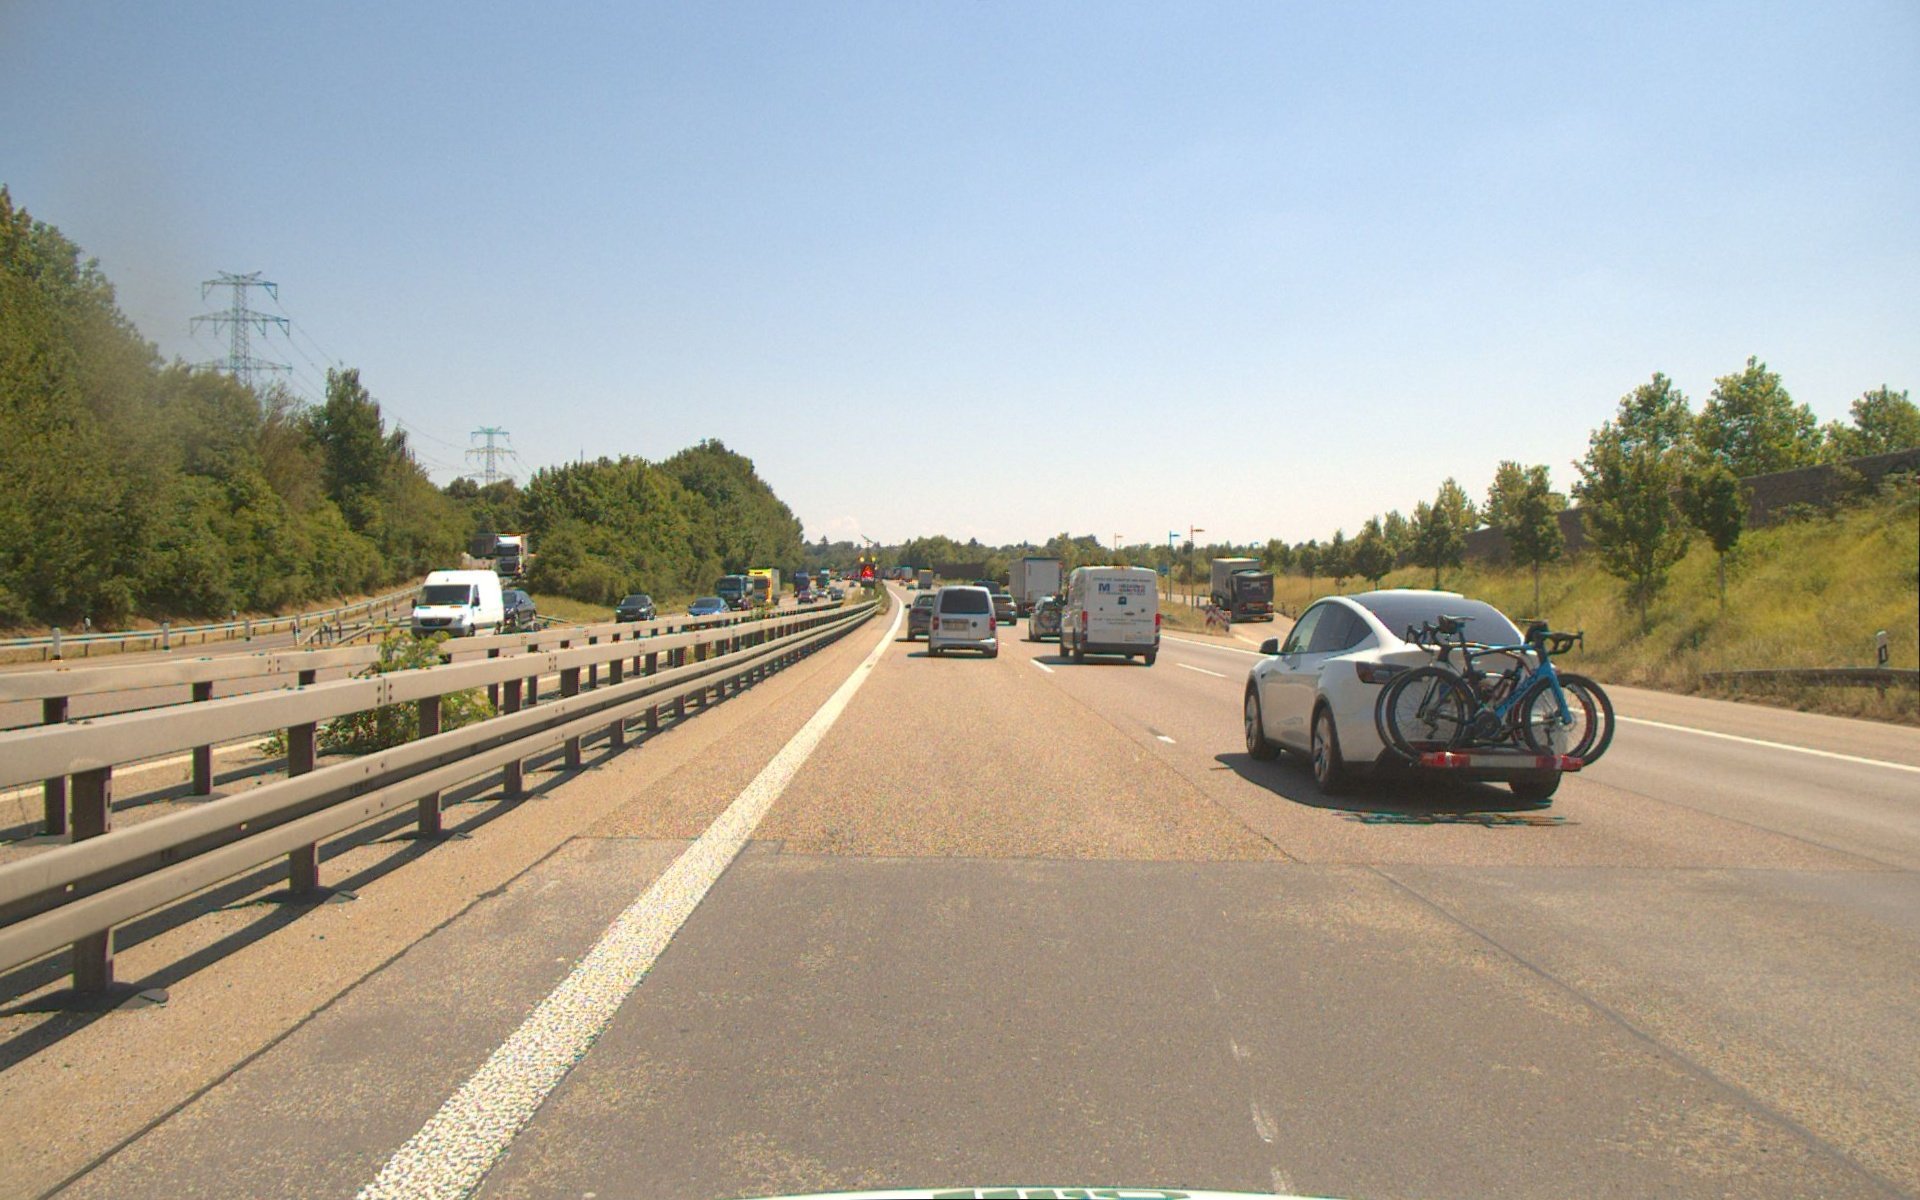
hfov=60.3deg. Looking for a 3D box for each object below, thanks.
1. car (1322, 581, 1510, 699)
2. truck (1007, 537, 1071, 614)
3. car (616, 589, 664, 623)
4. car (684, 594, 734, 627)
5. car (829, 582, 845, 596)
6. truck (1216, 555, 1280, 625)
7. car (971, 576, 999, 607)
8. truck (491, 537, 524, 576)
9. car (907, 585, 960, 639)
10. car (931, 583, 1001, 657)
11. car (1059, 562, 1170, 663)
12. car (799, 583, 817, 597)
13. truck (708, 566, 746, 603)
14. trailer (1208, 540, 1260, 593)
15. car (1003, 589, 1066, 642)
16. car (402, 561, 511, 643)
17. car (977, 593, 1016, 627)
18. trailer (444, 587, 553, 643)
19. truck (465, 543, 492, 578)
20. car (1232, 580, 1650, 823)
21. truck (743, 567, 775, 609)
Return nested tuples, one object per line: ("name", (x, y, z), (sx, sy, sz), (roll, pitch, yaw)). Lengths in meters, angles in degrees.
("car", (7.756, 0.618, 28.572), (1.911, 1.870, 4.176), (-1, 0, -3))
("truck", (5.552, -1.706, 118.606), (3.711, 5.087, 12.516), (1, 0, -1))
("car", (-18.361, 0.327, 95.071), (2.114, 1.831, 4.510), (-2, 0, -4))
("car", (-12.017, 0.479, 79.494), (1.745, 1.499, 4.354), (-1, 0, -1))
("car", (-15.070, -1.348, 203.155), (1.746, 1.653, 3.999), (-1, 0, -2))
("truck", (18.645, -0.638, 107.160), (3.707, 4.154, 12.529), (1, 0, 10))
("car", (1.564, -0.546, 105.354), (1.640, 1.924, 4.088), (-1, 0, -1))
("truck", (-47.059, -4.540, 172.134), (2.890, 3.963, 4.315), (0, 3, -10))
("car", (-0.883, 0.365, 55.809), (1.709, 1.731, 4.088), (-1, 0, -1))
("car", (0.119, 0.473, 42.870), (1.709, 1.795, 4.088), (-1, 0, -1))
("car", (3.751, 0.272, 41.179), (2.137, 2.293, 5.362), (1, 0, -1))
("car", (-17.764, -1.141, 193.019), (1.746, 1.557, 4.383), (-3, 0, -2))
("truck", (-21.503, -1.420, 152.876), (2.855, 3.358, 5.329), (0, 0, -2))
("trailer", (22.949, -2.716, 139.084), (2.988, 4.154, 14.266), (1, 0, 4))
("car", (2.578, 0.516, 57.970), (1.936, 1.763, 4.088), (-1, 0, -1))
("car", (-17.621, 0.037, 58.219), (2.067, 2.686, 6.002), (-1, 0, -2))
("car", (1.897, 0.494, 86.806), (1.863, 1.701, 4.088), (-1, 0, -1))
("trailer", (-17.896, 0.526, 64.534), (2.710, 1.979, 6.719), (-2, 0, -4))
("truck", (-58.217, -4.729, 200.088), (2.506, 4.078, 11.749), (1, 0, -13))
("car", (3.849, 0.696, 14.445), (1.911, 1.665, 5.599), (2, 0, -1))
("truck", (-21.541, -1.313, 177.423), (3.111, 4.417, 3.511), (0, 0, -3))
